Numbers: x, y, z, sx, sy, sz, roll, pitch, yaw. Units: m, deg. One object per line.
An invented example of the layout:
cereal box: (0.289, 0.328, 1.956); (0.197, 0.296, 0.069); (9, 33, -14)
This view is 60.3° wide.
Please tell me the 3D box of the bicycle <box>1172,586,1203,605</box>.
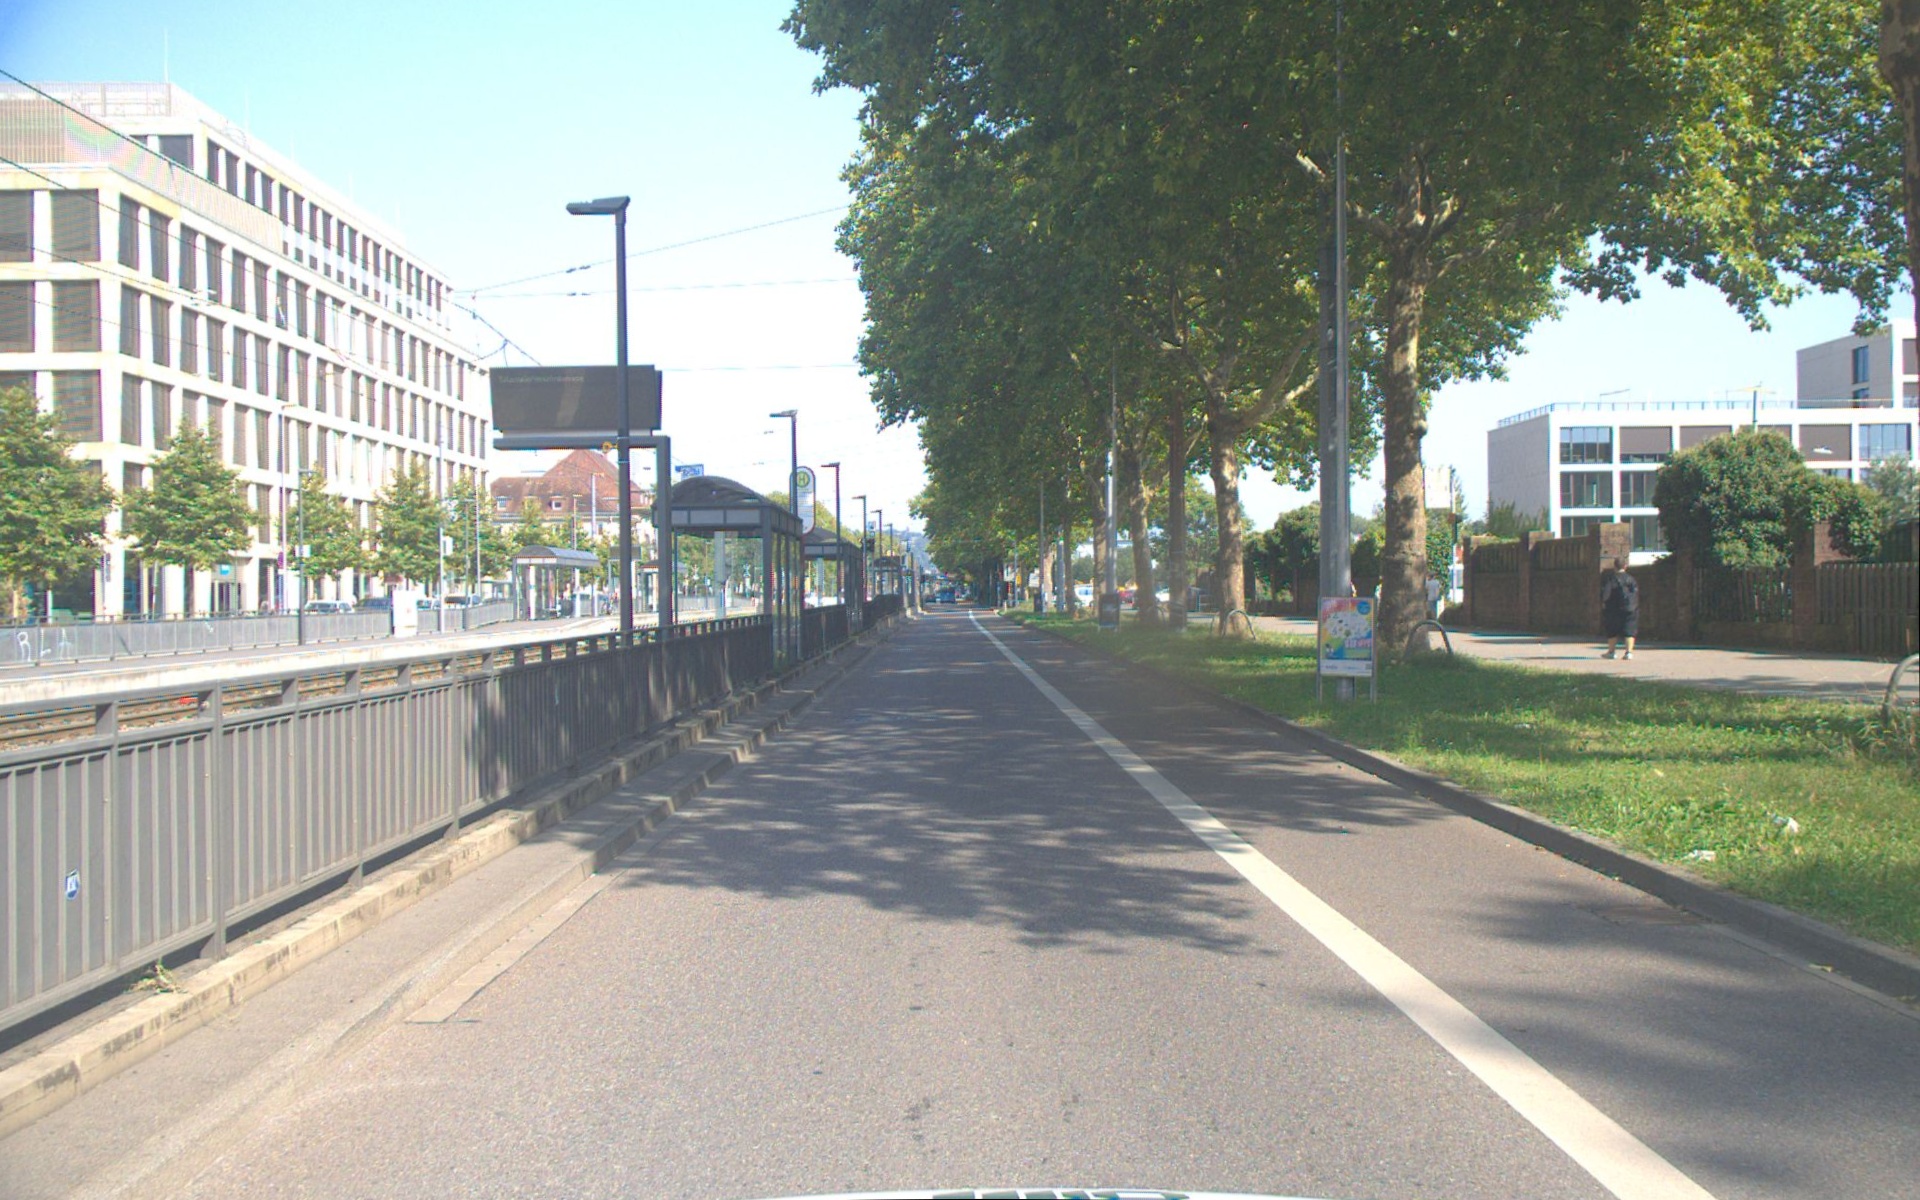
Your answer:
bicycle: (12.340, -0.244, 89.736); (1.621, 0.986, 0.506); (-3, 0, 5)

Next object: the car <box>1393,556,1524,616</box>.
car: (19.740, -0.543, 65.593); (4.567, 2.358, 2.055); (0, 0, -1)

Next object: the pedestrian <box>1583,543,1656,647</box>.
pedestrian: (11.242, -0.083, 28.222); (0.802, 1.716, 1.012); (-2, 0, 0)

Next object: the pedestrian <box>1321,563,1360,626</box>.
pedestrian: (10.434, -0.151, 45.390); (0.790, 1.664, 0.947); (-2, 0, 0)

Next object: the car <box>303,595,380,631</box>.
car: (-25.320, 0.511, 67.816); (1.609, 1.401, 4.222); (-1, 0, -1)

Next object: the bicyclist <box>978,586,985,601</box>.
bicyclist: (2.120, -0.666, 164.387); (0.691, 1.486, 1.009); (0, 0, 0)

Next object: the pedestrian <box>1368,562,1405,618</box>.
pedestrian: (12.652, -0.294, 49.132); (0.790, 1.632, 0.947); (-2, 0, 0)

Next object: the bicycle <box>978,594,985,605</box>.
bicycle: (2.120, -0.058, 164.373); (0.700, 1.127, 2.509); (0, 0, 0)

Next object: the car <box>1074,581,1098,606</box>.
car: (10.915, -0.567, 143.805); (1.686, 2.084, 4.461); (-1, 0, 0)

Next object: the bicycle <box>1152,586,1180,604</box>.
bicycle: (11.613, -0.285, 93.340); (0.502, 0.986, 1.636); (-3, 0, -41)

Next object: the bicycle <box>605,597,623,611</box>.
bicycle: (-17.684, 0.208, 84.623); (0.467, 0.674, 1.614); (-1, 0, 4)

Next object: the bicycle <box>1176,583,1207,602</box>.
bicycle: (13.202, -0.428, 94.301); (1.622, 0.986, 0.506); (-3, 0, 2)

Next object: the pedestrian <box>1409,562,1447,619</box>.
pedestrian: (13.854, -0.276, 48.984); (0.790, 1.632, 0.947); (-2, 0, 0)

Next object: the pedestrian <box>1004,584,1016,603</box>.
pedestrian: (4.458, -0.571, 146.862); (0.614, 1.645, 0.842); (-1, 0, 37)

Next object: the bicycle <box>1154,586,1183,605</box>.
bicycle: (11.621, -0.234, 92.068); (0.502, 0.986, 1.636); (-3, 0, -41)
